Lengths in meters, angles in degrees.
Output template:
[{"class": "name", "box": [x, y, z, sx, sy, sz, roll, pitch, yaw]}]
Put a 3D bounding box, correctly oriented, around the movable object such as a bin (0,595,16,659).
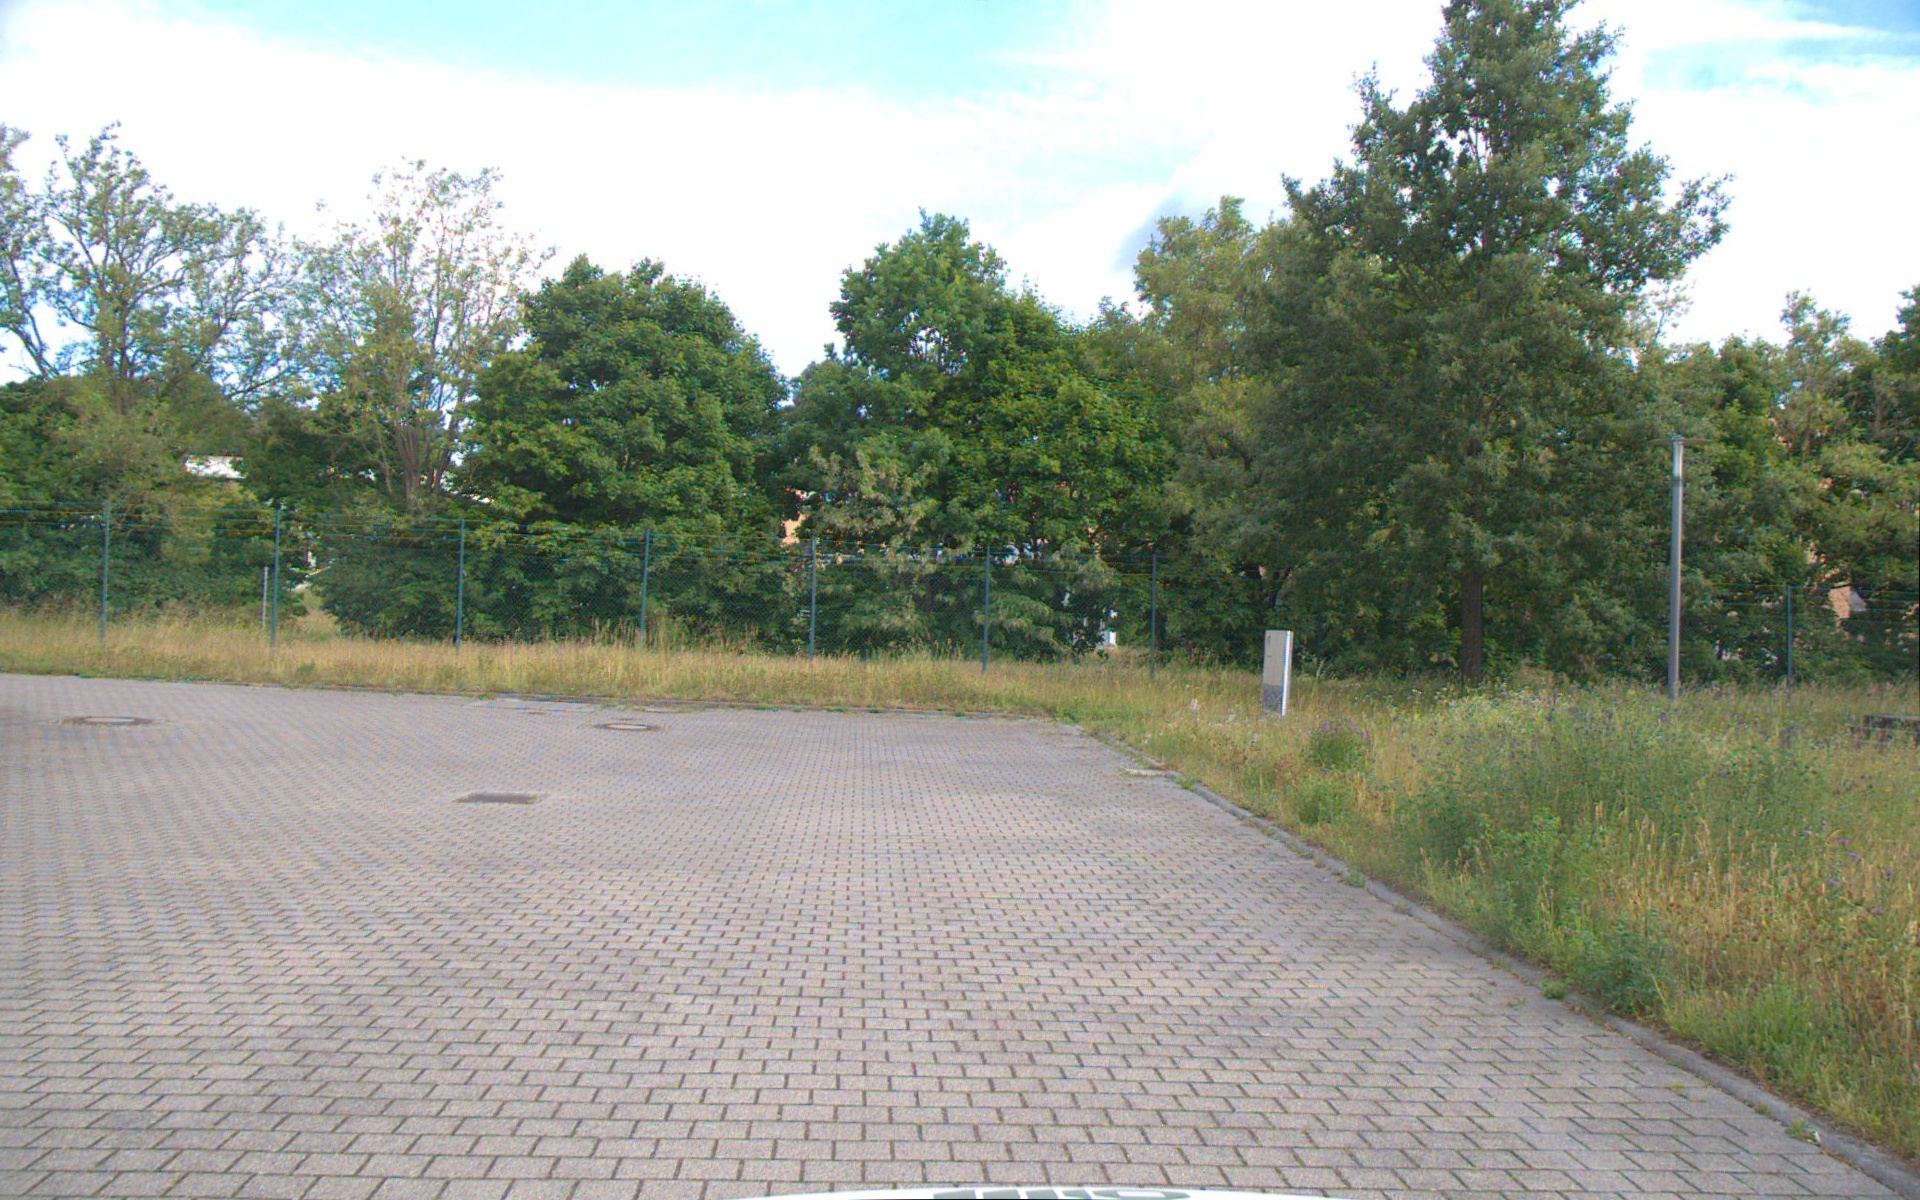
[{"class": "movable object such as a bin", "box": [-13.333, 0.360, 22.515, 0.571, 0.881, 0.602, 1, -1, 5]}]
